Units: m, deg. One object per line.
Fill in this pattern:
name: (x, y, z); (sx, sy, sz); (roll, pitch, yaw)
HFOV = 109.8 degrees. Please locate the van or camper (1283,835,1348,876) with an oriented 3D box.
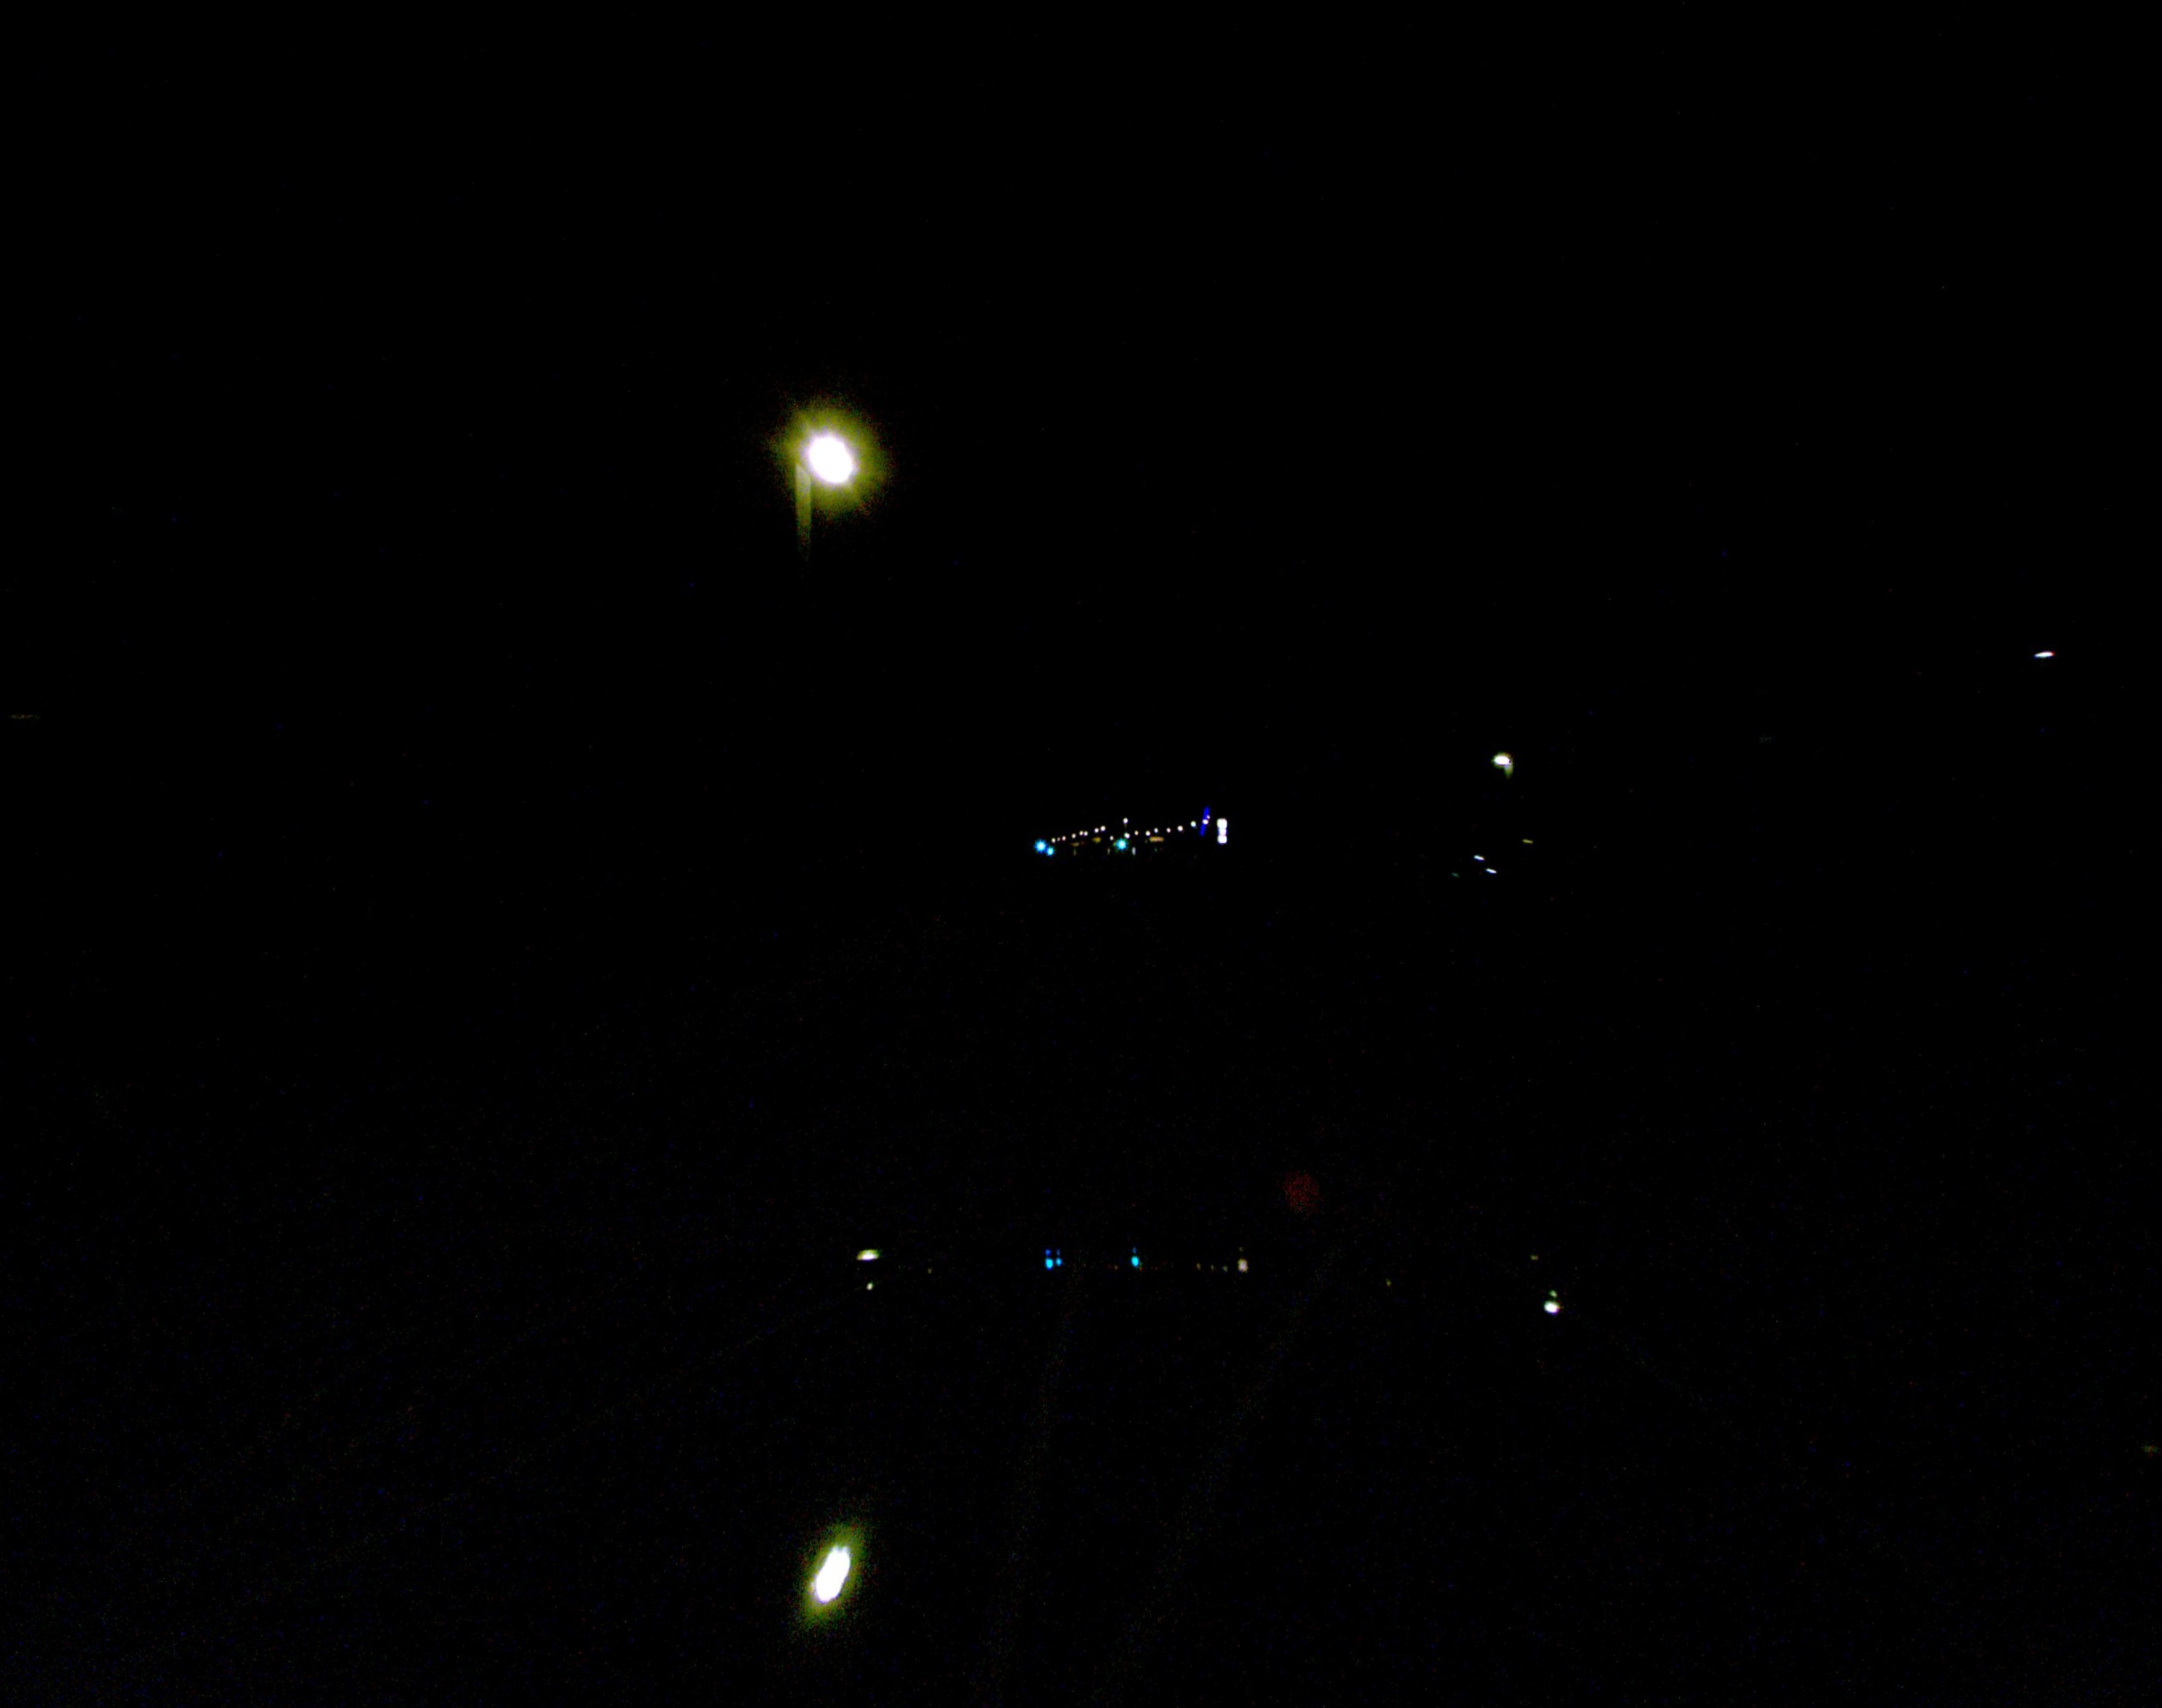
van or camper: (15.904, 0.104, 51.848); (2.279, 2.632, 5.662); (1, 0, -4)

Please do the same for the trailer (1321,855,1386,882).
trailer: (16.117, 0.830, 45.256); (2.425, 1.367, 4.656); (3, 0, 5)

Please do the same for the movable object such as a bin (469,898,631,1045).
movable object such as a bin: (-4.696, 1.011, 6.780); (0.835, 1.174, 0.828); (-1, 0, 3)

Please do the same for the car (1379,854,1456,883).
car: (16.189, 0.664, 36.635); (3.037, 1.318, 1.533); (-1, 0, -5)

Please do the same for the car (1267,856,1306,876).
car: (15.702, 0.900, 58.275); (1.650, 1.331, 4.542); (3, 0, -1)

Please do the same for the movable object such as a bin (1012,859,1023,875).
movable object such as a bin: (-4.723, 0.952, 56.548); (0.725, 1.194, 0.720); (-1, 0, 7)

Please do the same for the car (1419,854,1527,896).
car: (15.875, 0.791, 31.130); (1.906, 1.513, 5.172); (-1, 0, 3)

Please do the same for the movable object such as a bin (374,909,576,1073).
movable object such as a bin: (-4.655, 1.022, 5.904); (0.859, 1.113, 0.840); (-1, 0, 3)
